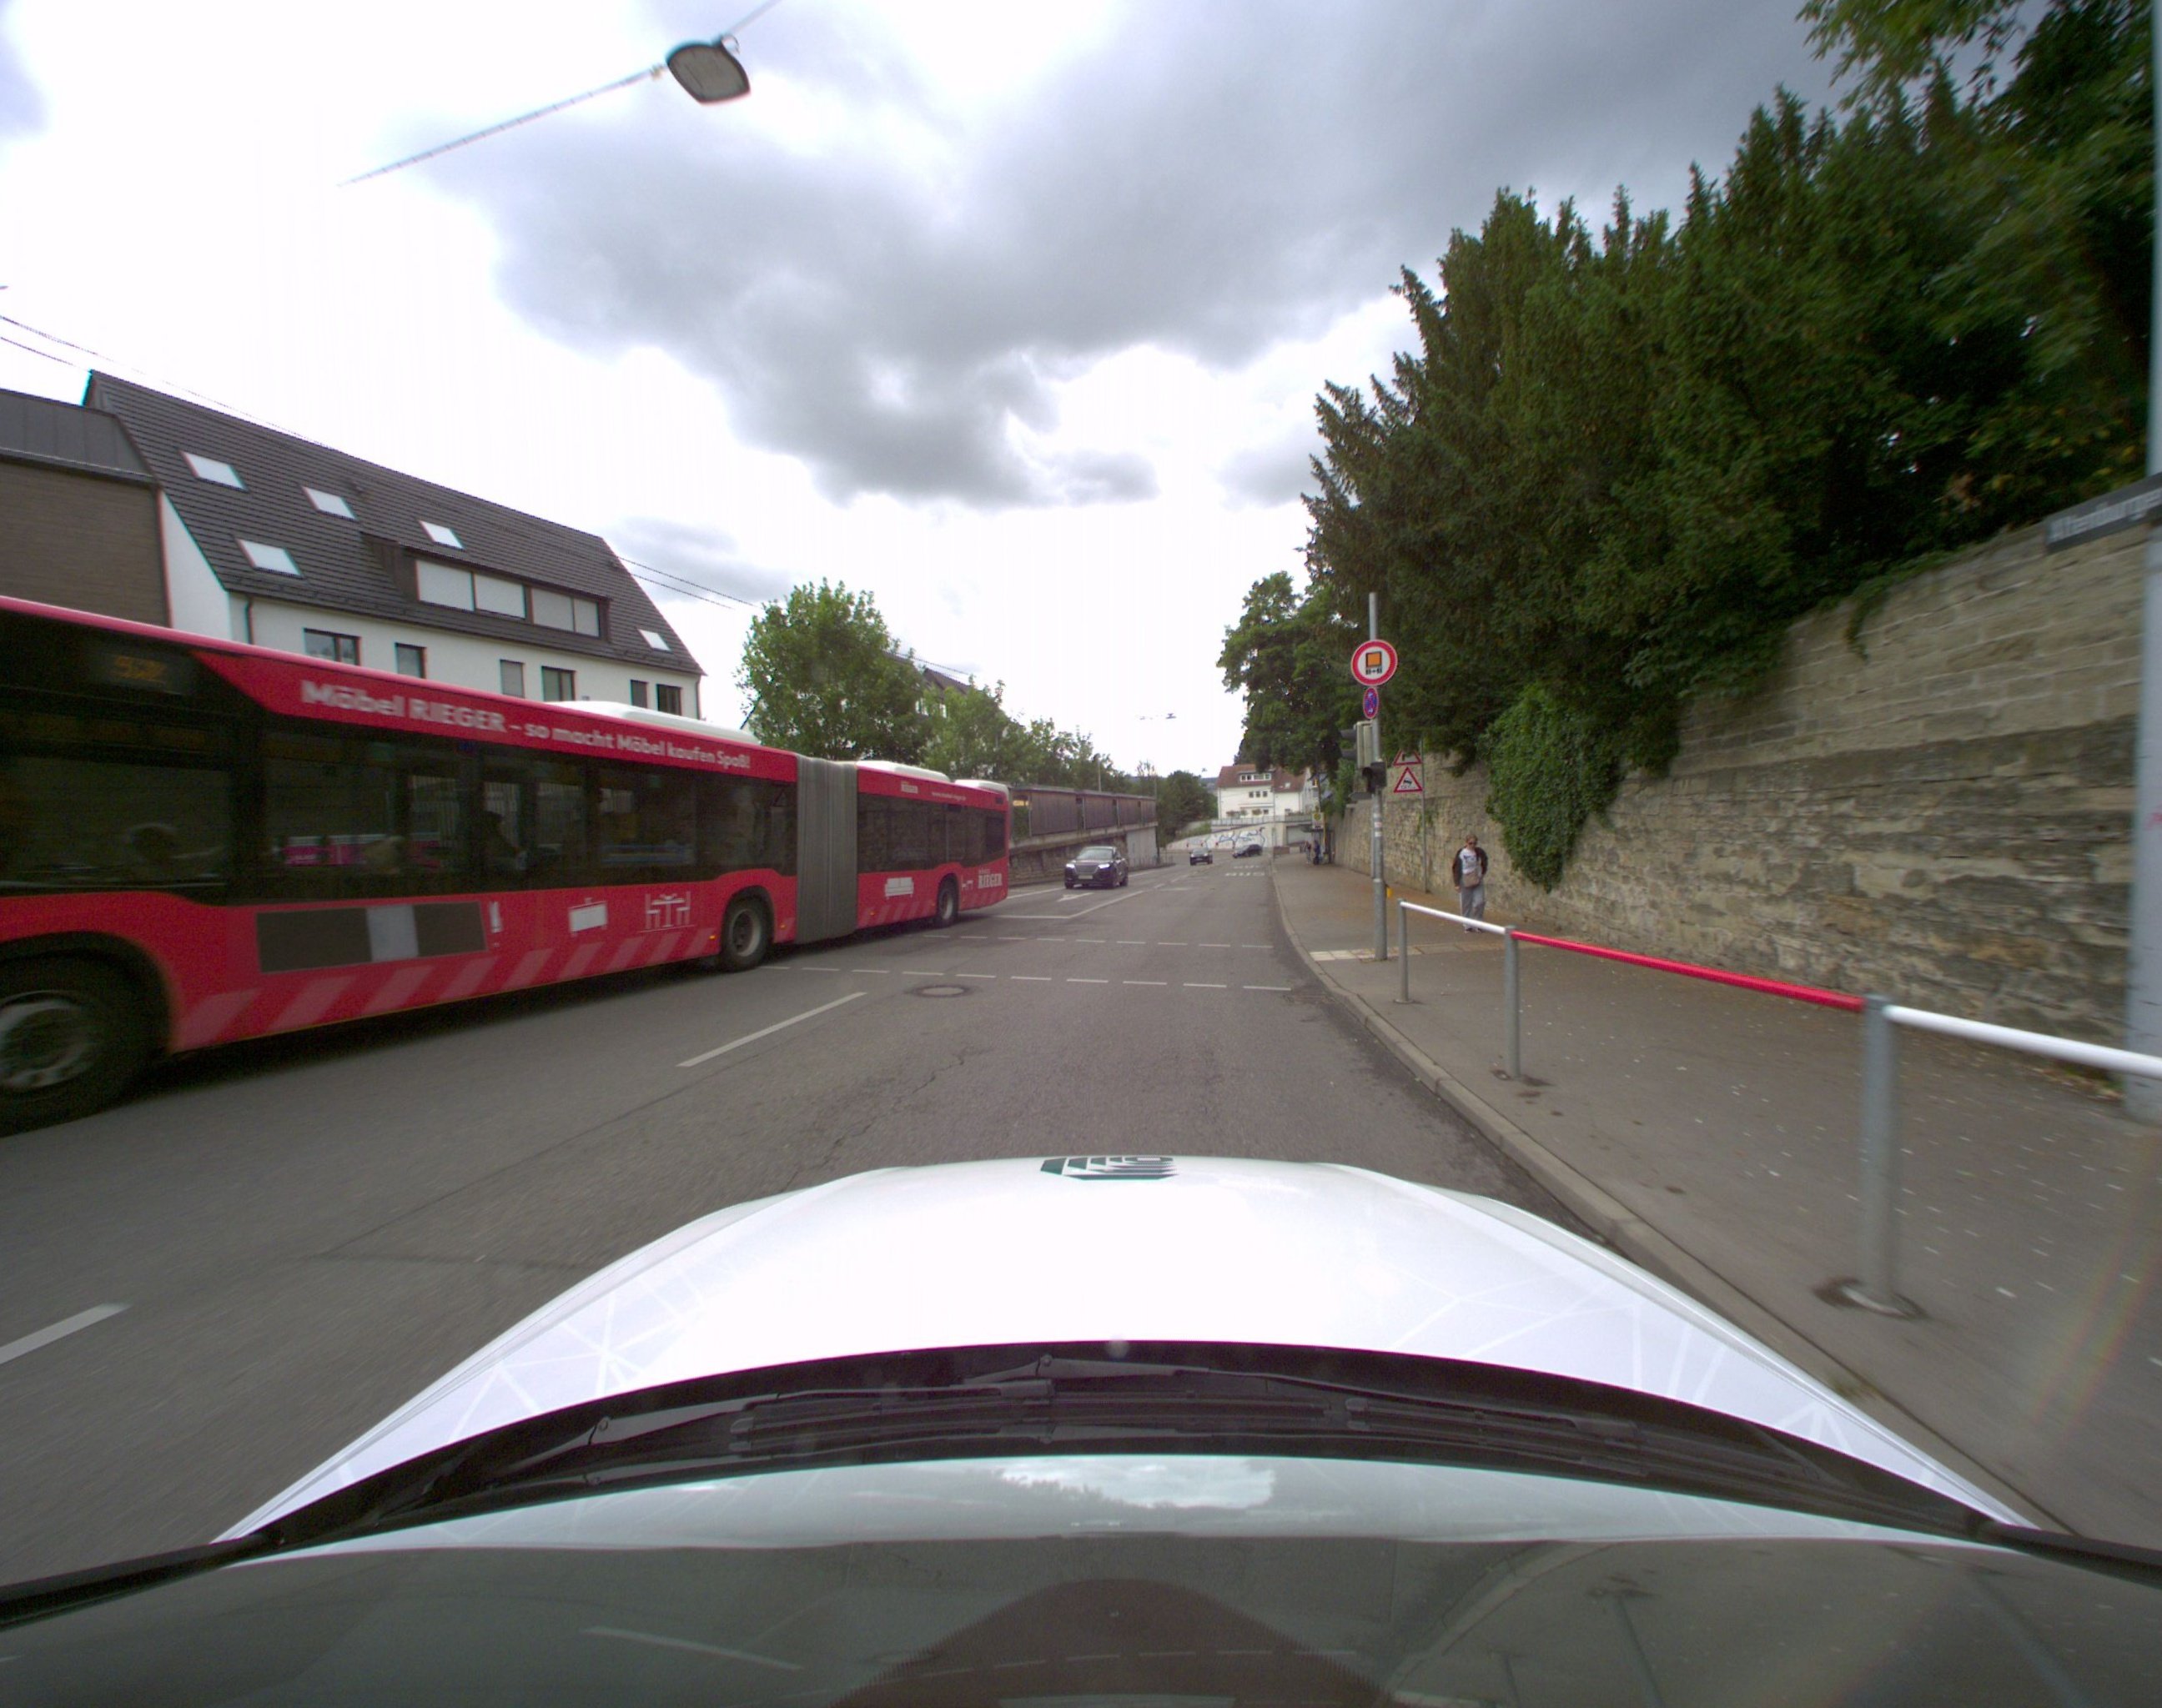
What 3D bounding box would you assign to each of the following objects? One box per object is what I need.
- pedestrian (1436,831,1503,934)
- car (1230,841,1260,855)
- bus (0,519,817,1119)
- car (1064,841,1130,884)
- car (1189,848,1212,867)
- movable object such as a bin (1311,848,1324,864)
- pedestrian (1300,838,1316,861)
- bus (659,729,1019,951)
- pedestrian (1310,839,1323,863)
[{"bbox_3d":[6.235,0.446,13.106,0.726,1.576,0.746,-3,0,10],"label":"pedestrian"},{"bbox_3d":[19.138,-0.714,94.917,1.718,1.533,4.026,-3,-1,38],"label":"car"},{"bbox_3d":[-6.281,-0.192,6.917,2.638,3.121,10.058,0,0,15],"label":"bus"},{"bbox_3d":[0.722,0.327,33.123,1.909,1.630,4.536,0,-1,11],"label":"car"},{"bbox_3d":[11.764,0.309,79.960,1.881,1.756,4.452,-2,-1,12],"label":"car"},{"bbox_3d":[15.901,0.109,54.760,0.670,1.020,0.628,-2,0,8],"label":"movable object such as a bin"},{"bbox_3d":[16.101,-0.319,57.793,0.777,1.587,0.729,-4,0,-36],"label":"pedestrian"},{"bbox_3d":[-3.899,-0.218,15.841,2.638,3.121,8.327,0,0,16],"label":"bus"},{"bbox_3d":[16.008,-0.213,55.426,0.717,1.642,0.632,-2,0,8],"label":"pedestrian"}]
